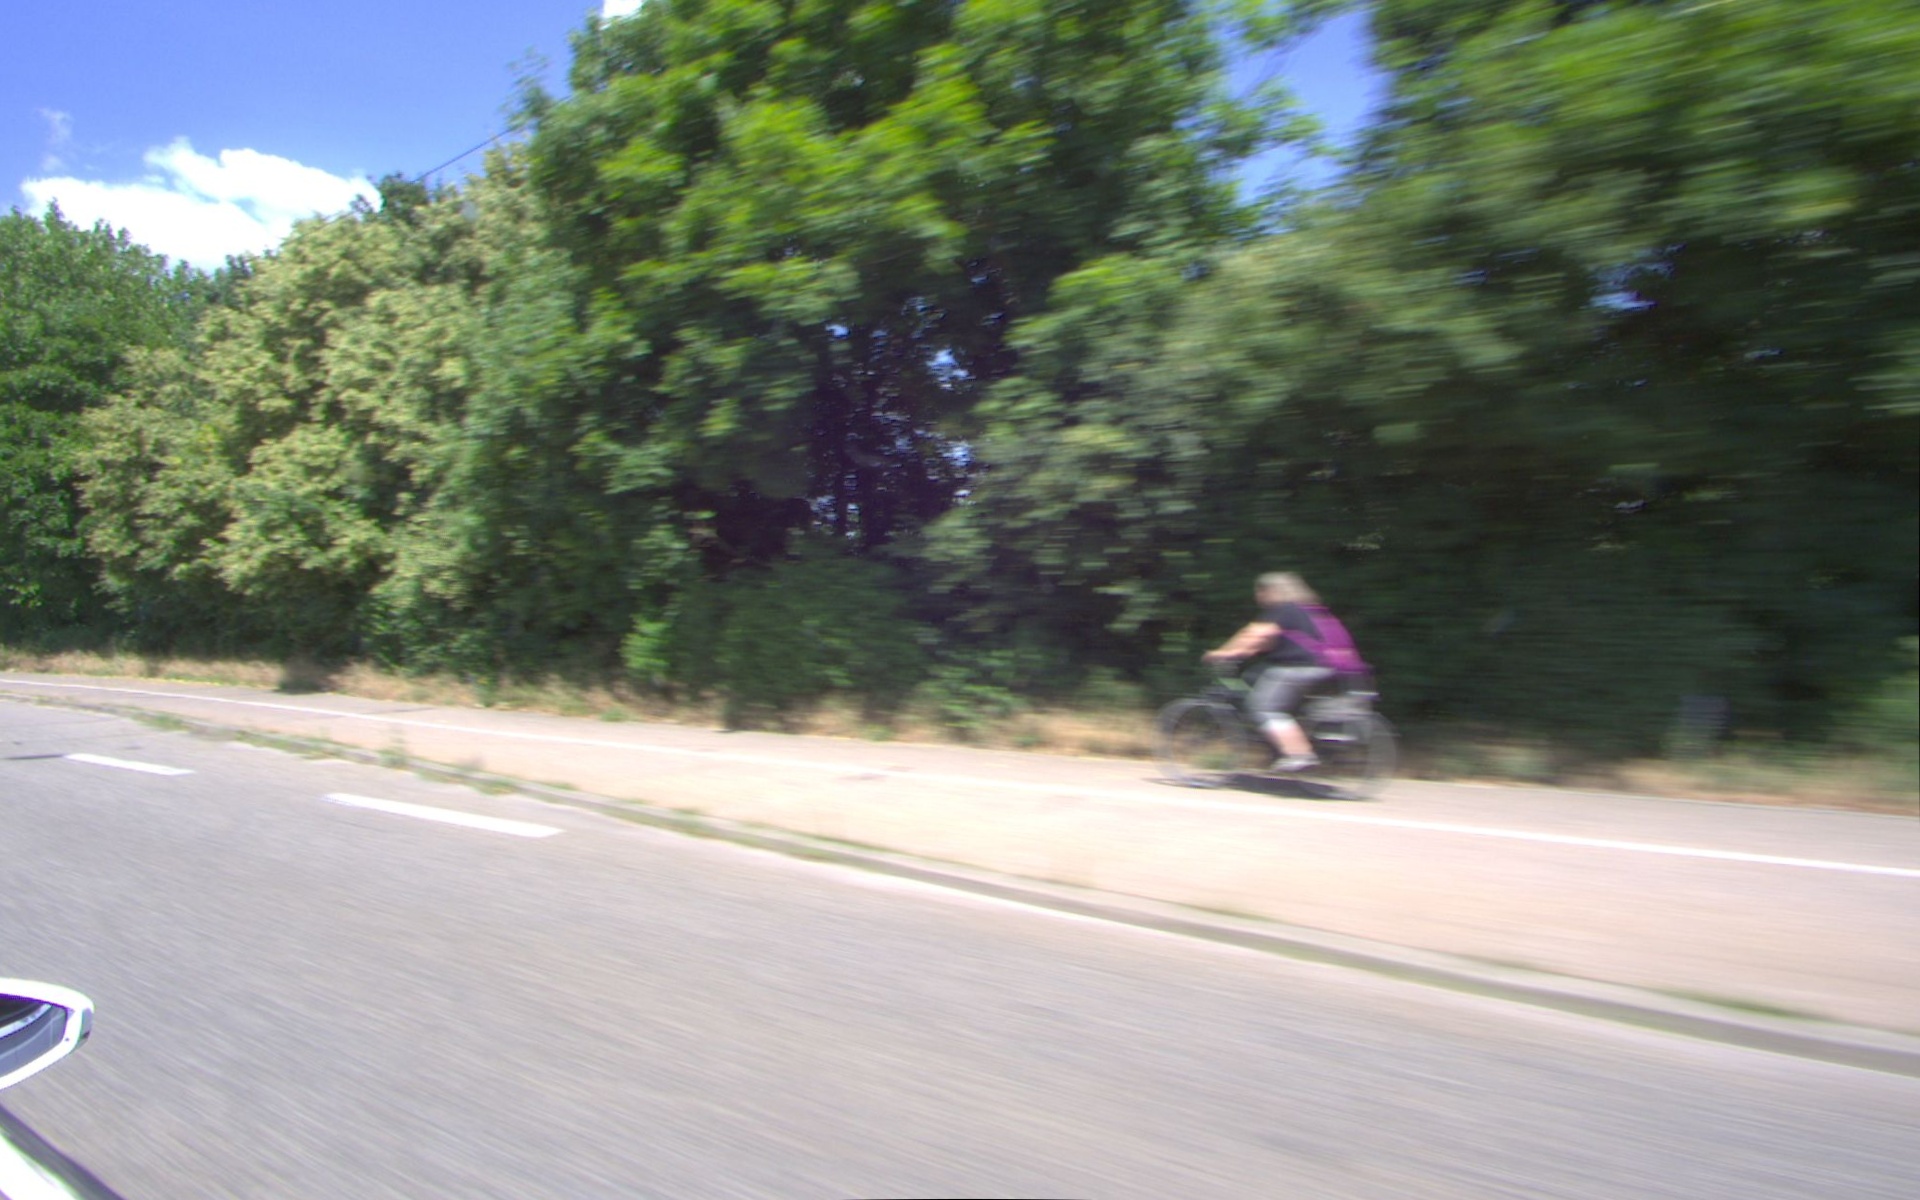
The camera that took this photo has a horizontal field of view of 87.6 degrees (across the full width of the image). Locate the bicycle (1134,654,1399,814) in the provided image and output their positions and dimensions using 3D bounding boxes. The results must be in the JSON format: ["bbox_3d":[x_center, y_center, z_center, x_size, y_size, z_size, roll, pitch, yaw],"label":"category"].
[{"bbox_3d":[2.273,0.947,7.527,1.821,1.038,0.558,-1,1,32],"label":"bicycle"}]

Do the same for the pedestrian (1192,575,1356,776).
[{"bbox_3d":[2.344,0.527,7.471,1.035,1.392,0.626,-1,1,32],"label":"pedestrian"}]
